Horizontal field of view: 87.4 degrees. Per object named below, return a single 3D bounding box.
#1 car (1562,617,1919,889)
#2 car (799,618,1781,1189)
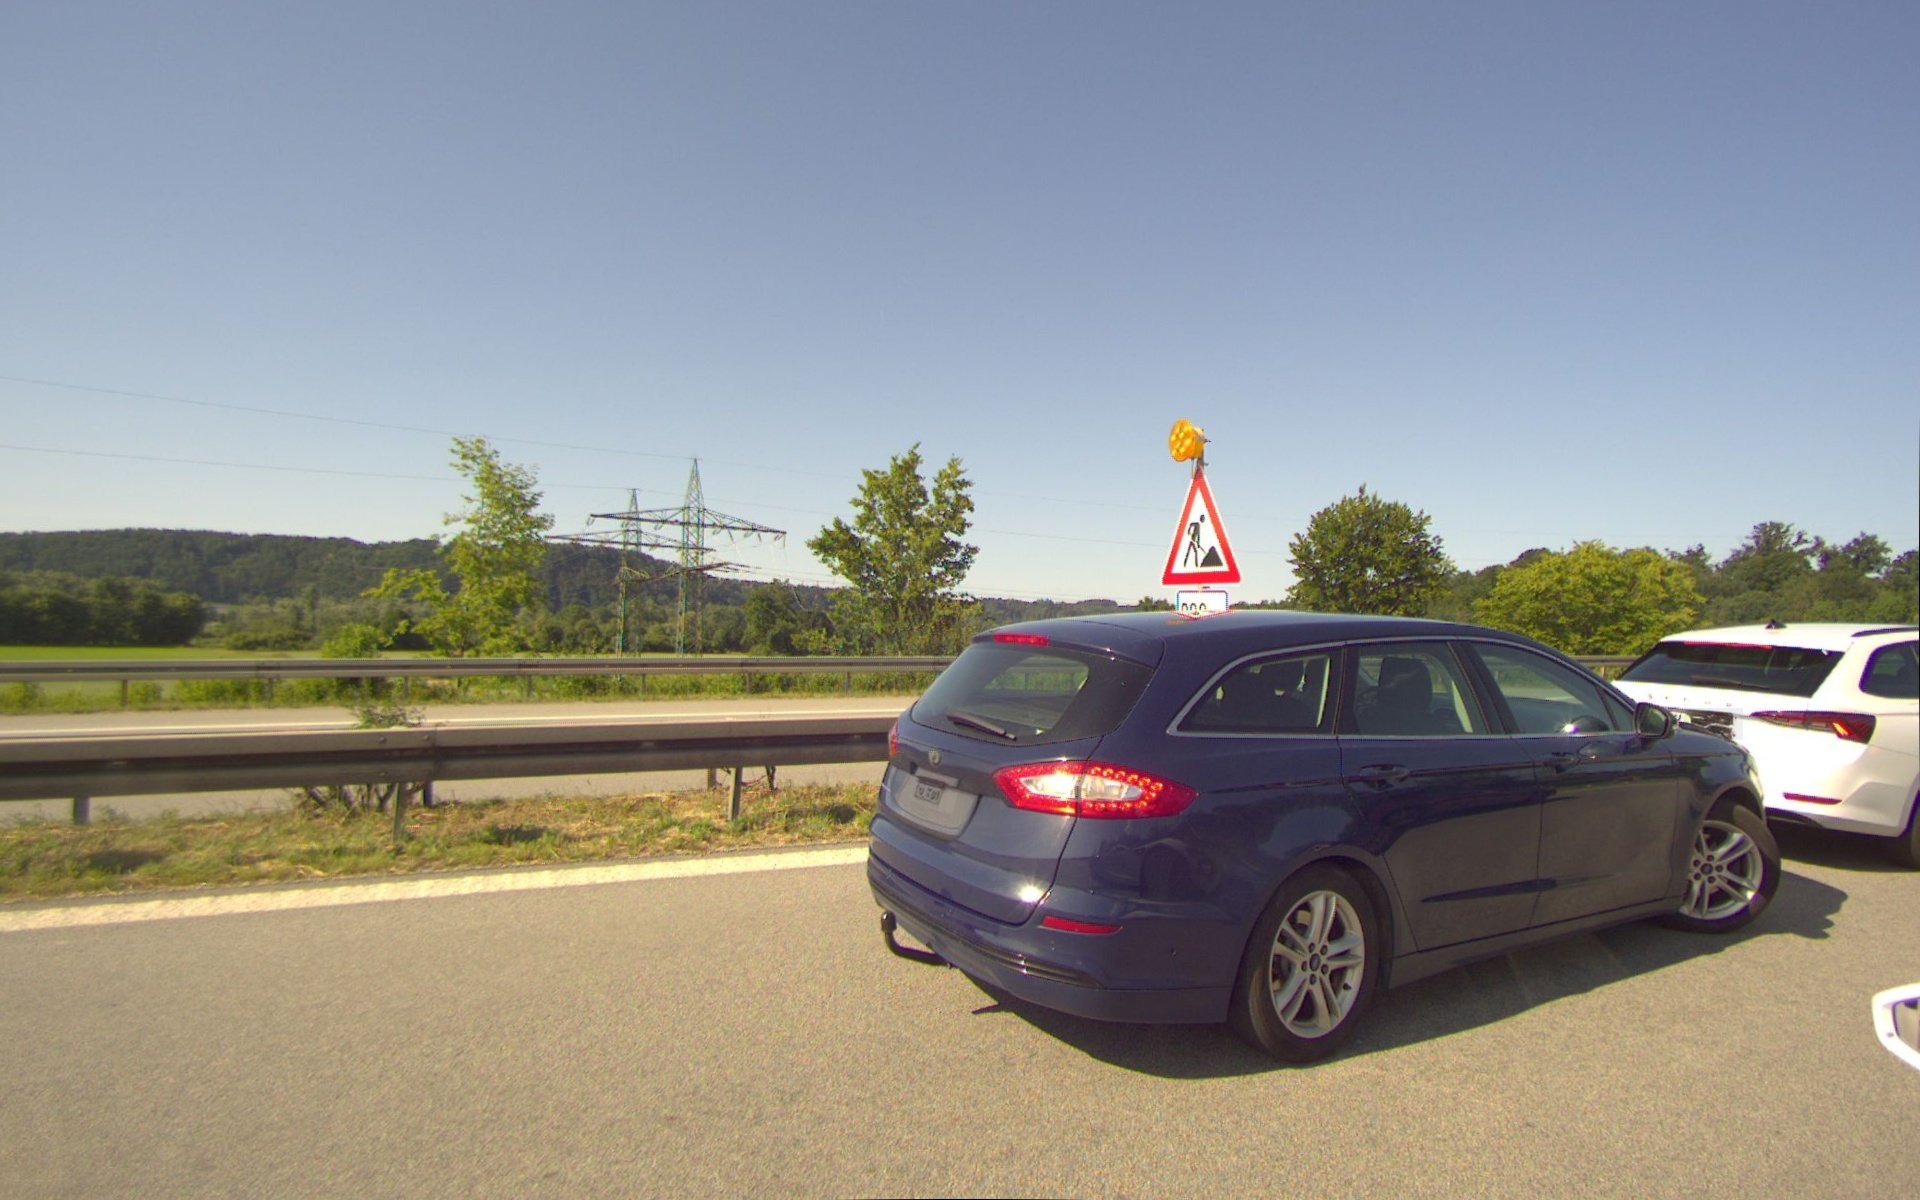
[{"bbox_3d":[6.503,0.892,7.074,4.148,1.461,1.692,1,0,-21],"label":"car"},{"bbox_3d":[1.677,0.860,4.575,4.440,1.513,1.779,1,-1,-30],"label":"car"}]
